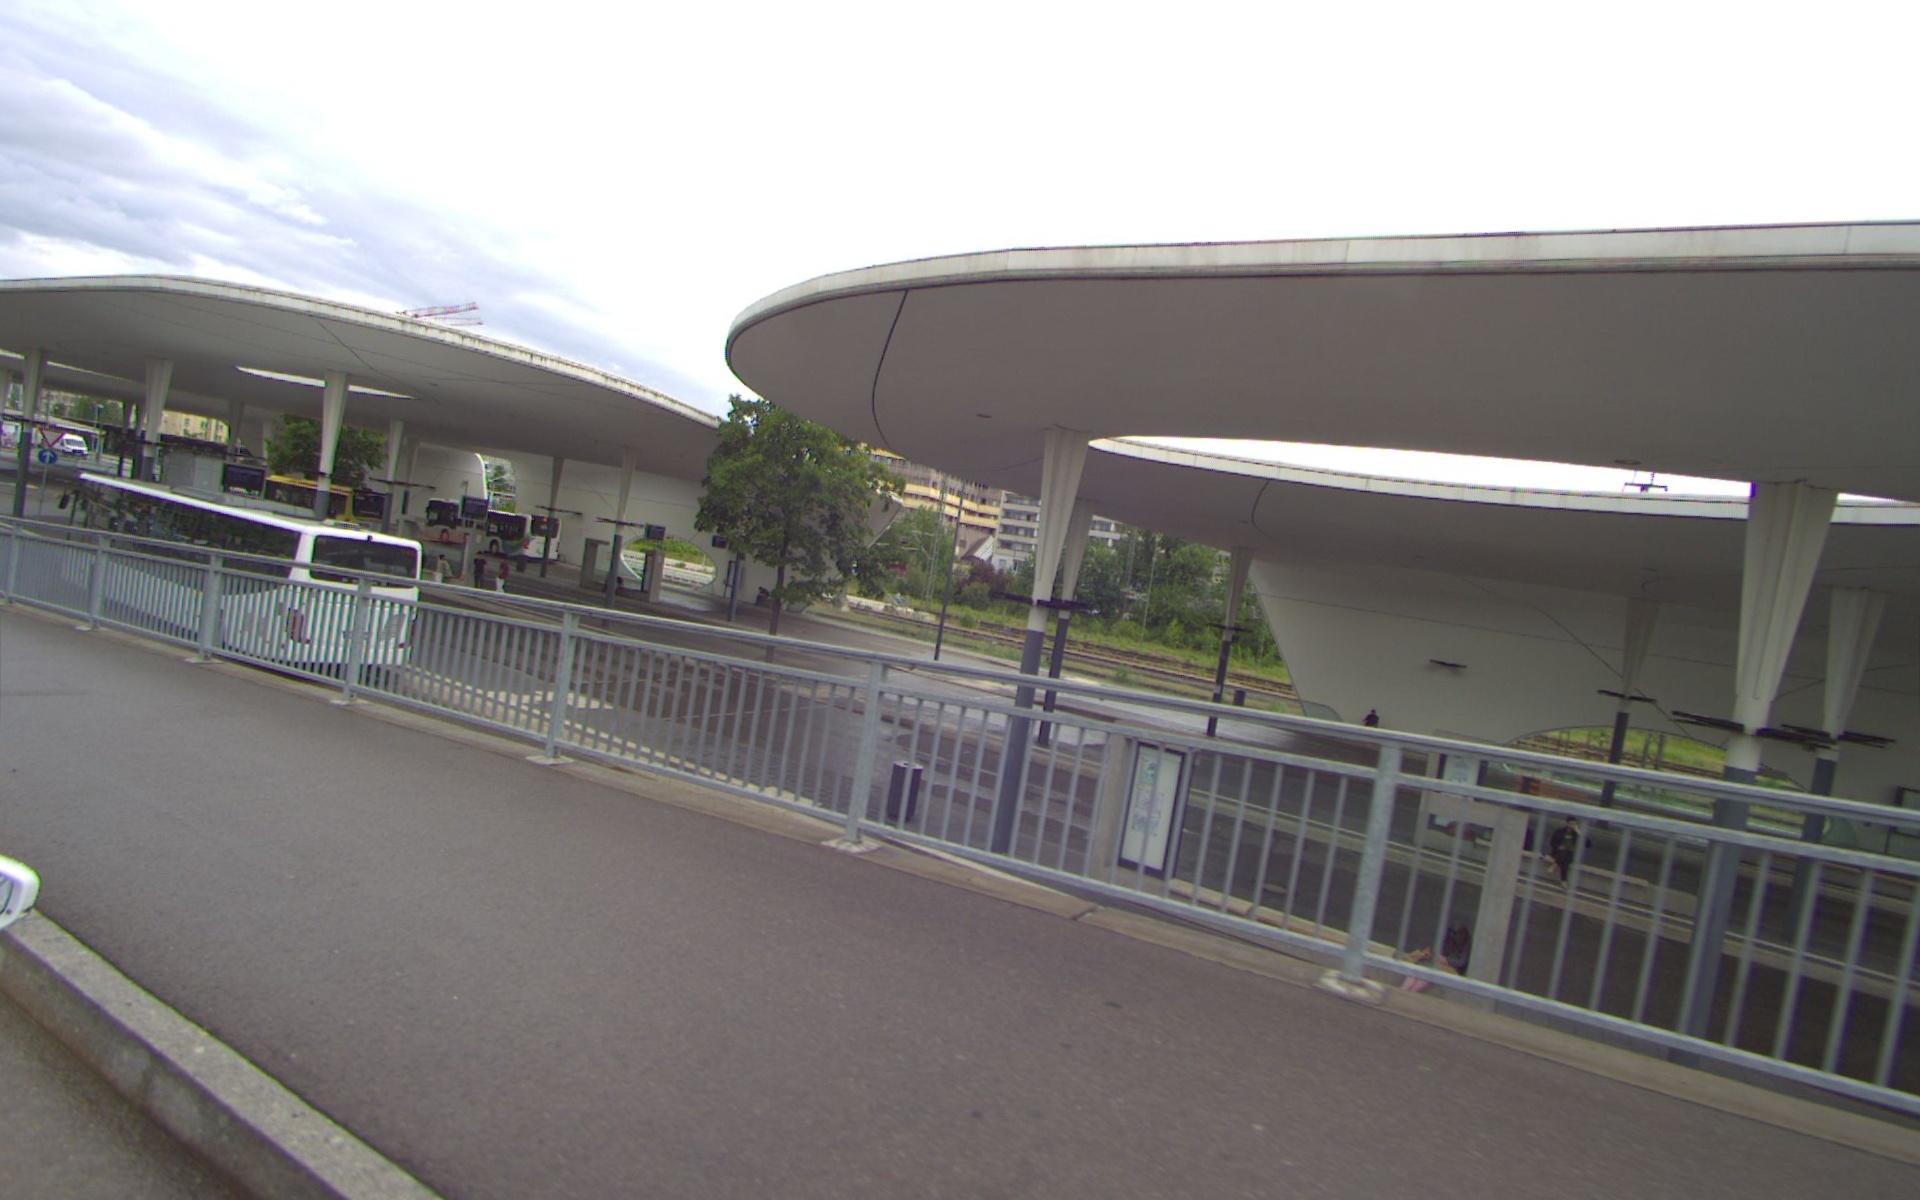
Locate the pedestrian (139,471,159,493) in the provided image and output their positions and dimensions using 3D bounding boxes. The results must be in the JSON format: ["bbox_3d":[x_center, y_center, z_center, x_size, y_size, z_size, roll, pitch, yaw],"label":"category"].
[{"bbox_3d":[-64.675,-9.415,80.210,0.892,1.606,0.796,9,1,25],"label":"pedestrian"}]

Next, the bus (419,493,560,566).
[{"bbox_3d":[-32.154,-4.878,68.448,11.769,3.302,2.466,11,5,32],"label":"bus"}]

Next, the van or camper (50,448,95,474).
[{"bbox_3d":[-98.107,-15.362,111.203,5.388,2.128,1.997,8,0,31],"label":"van or camper"}]

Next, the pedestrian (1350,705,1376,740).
[{"bbox_3d":[16.776,5.102,41.882,0.701,1.340,0.799,6,-2,36],"label":"pedestrian"}]

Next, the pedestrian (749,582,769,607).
[{"bbox_3d":[-11.968,-0.336,59.913,0.789,1.340,0.710,6,-2,35],"label":"pedestrian"}]

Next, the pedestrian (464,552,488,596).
[{"bbox_3d":[-19.471,-1.043,40.474,0.548,1.677,0.568,11,5,37],"label":"pedestrian"}]

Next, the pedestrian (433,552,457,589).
[{"bbox_3d":[-21.100,-1.205,41.216,0.548,1.412,0.568,11,5,37],"label":"pedestrian"}]

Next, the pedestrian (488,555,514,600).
[{"bbox_3d":[-17.985,-0.894,39.416,0.629,1.677,0.641,7,4,-8],"label":"pedestrian"}]

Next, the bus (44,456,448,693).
[{"bbox_3d":[-17.165,-0.827,23.633,12.216,3.401,2.851,11,1,31],"label":"bus"}]

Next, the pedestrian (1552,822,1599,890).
[{"bbox_3d":[12.499,5.185,20.450,0.658,1.177,0.536,6,-2,28],"label":"pedestrian"}]

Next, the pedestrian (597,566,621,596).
[{"bbox_3d":[-17.604,-0.953,50.460,0.790,1.340,0.709,6,-2,39],"label":"pedestrian"}]

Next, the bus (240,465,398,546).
[{"bbox_3d":[-39.194,-5.842,61.249,11.933,3.300,2.791,10,3,30],"label":"bus"}]

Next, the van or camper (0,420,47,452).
[{"bbox_3d":[-104.725,-18.293,111.519,2.083,2.588,4.617,8,-1,30],"label":"van or camper"}]
